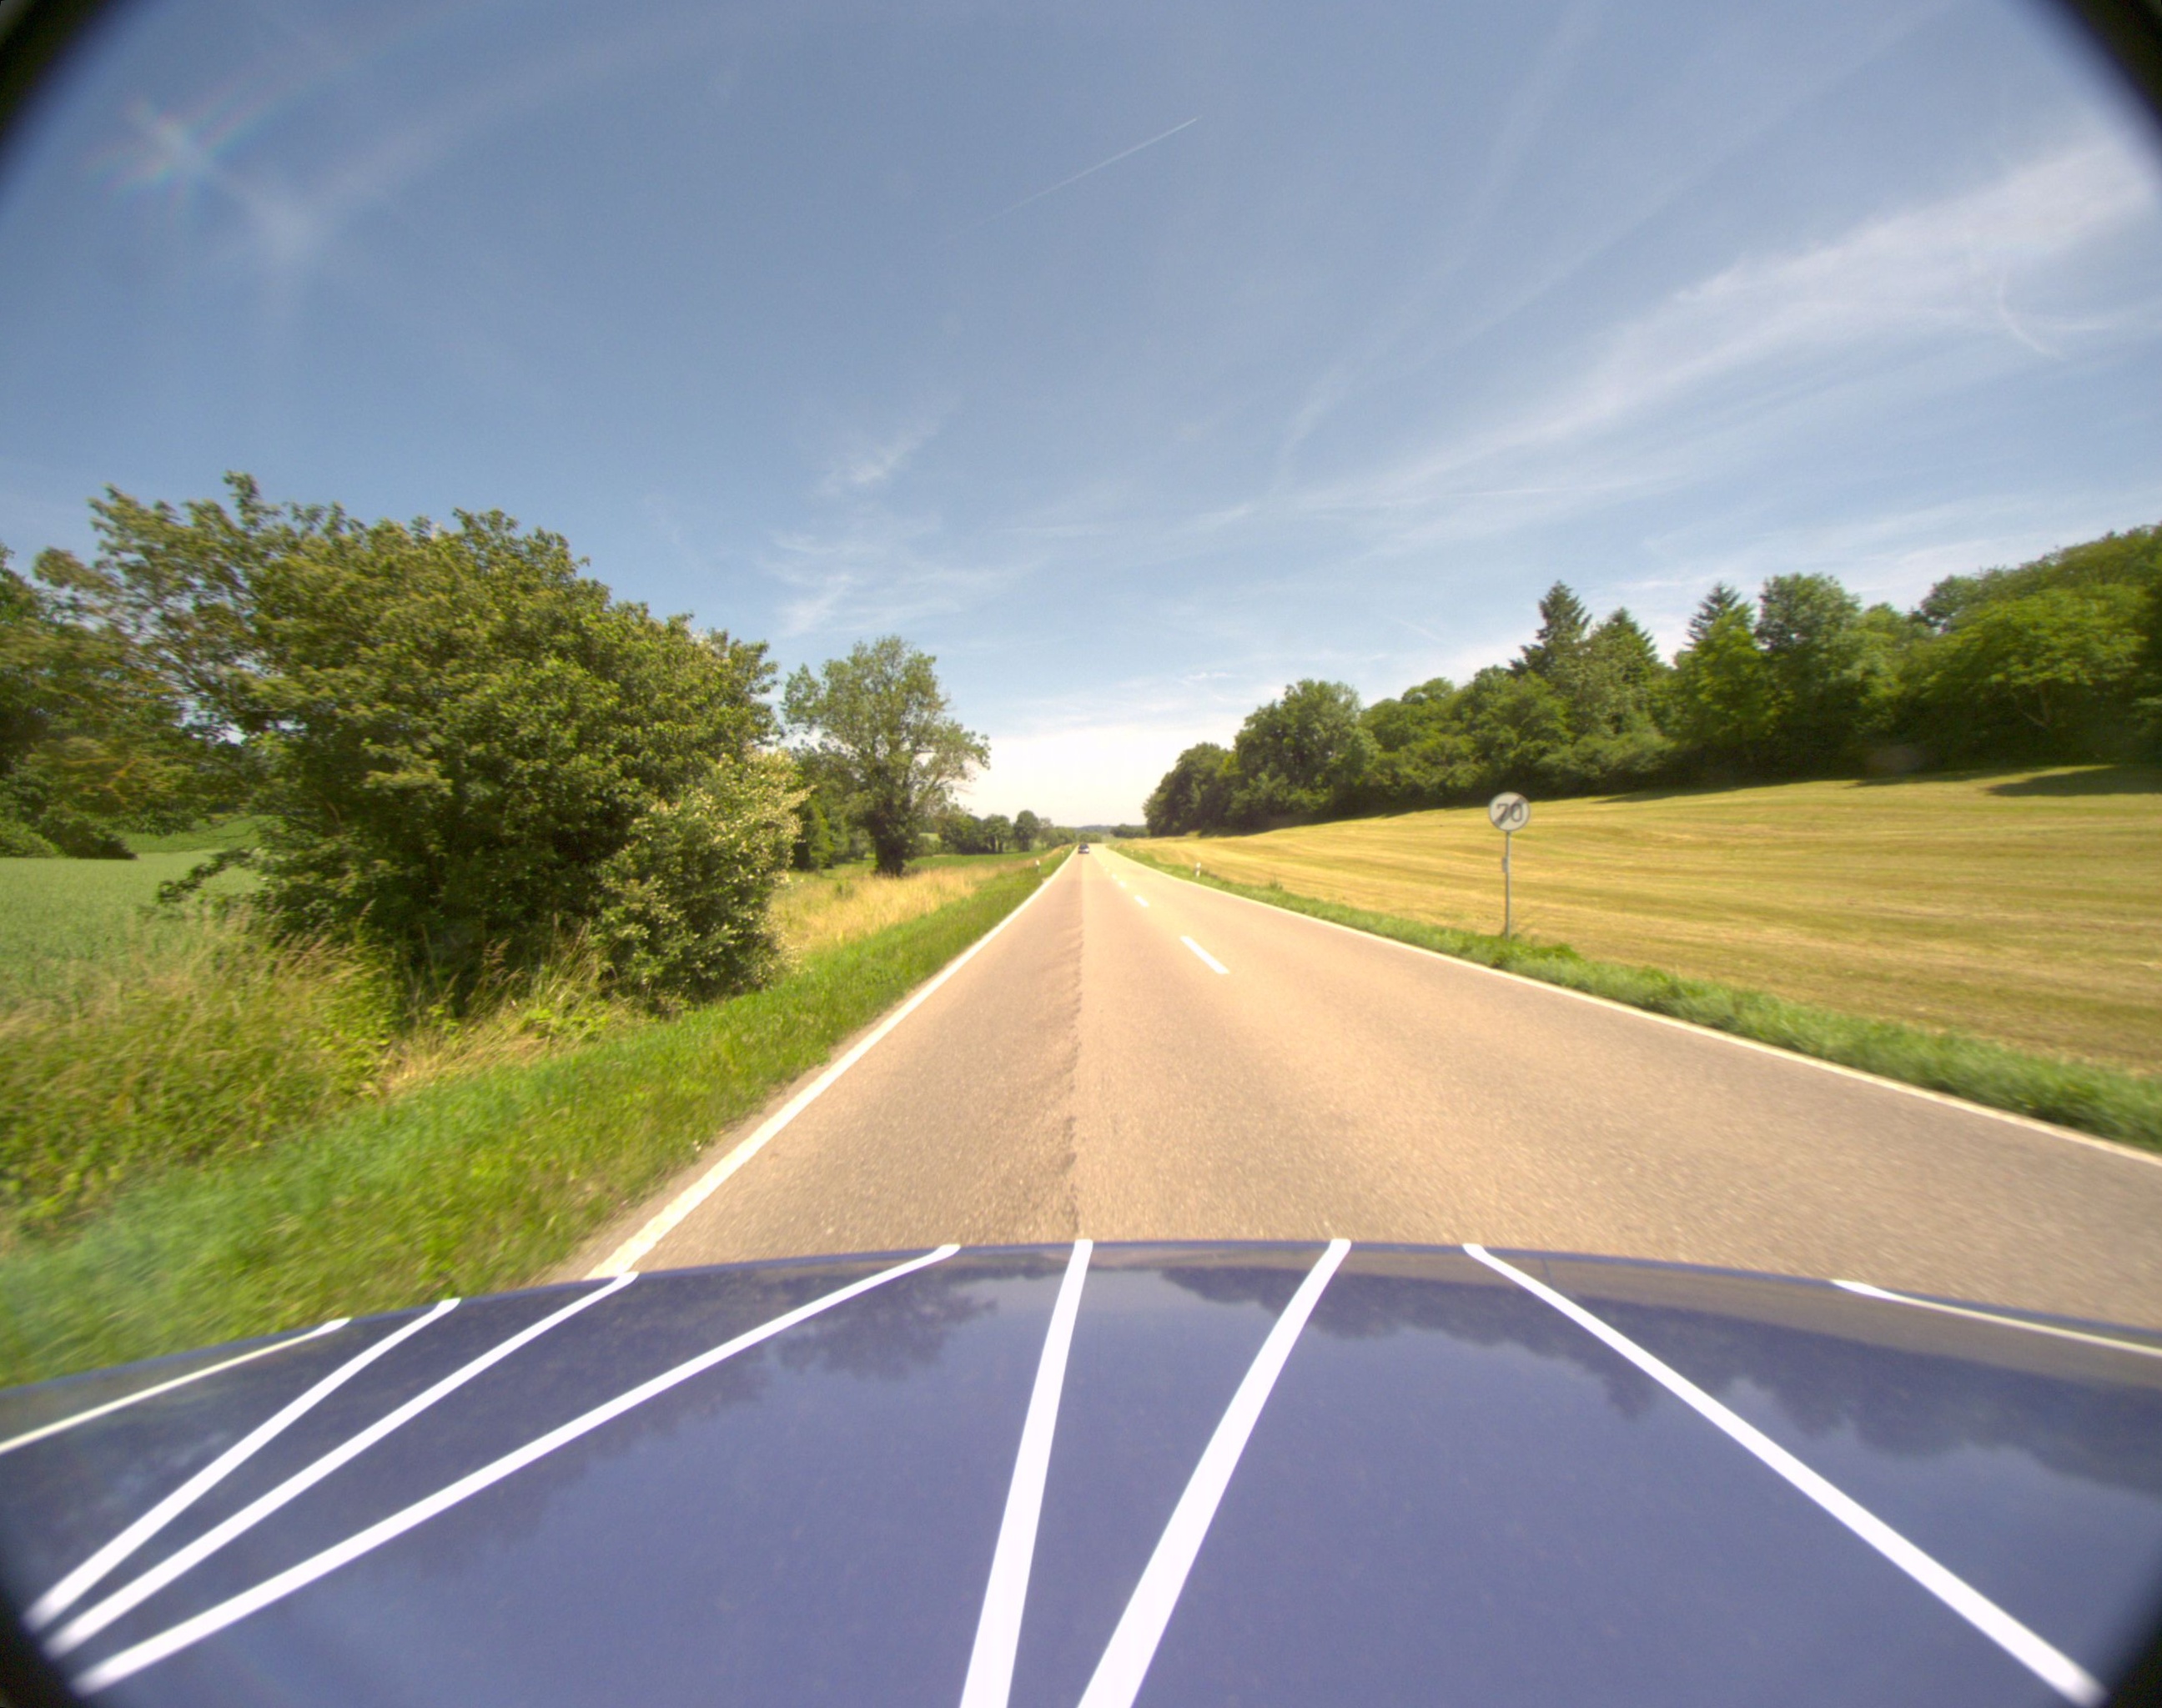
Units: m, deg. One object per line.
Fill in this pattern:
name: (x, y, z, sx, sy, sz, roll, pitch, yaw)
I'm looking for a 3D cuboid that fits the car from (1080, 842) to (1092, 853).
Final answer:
car: (0.800, -1.015, 123.833, 1.815, 1.569, 4.155, -2, -2, 1)
